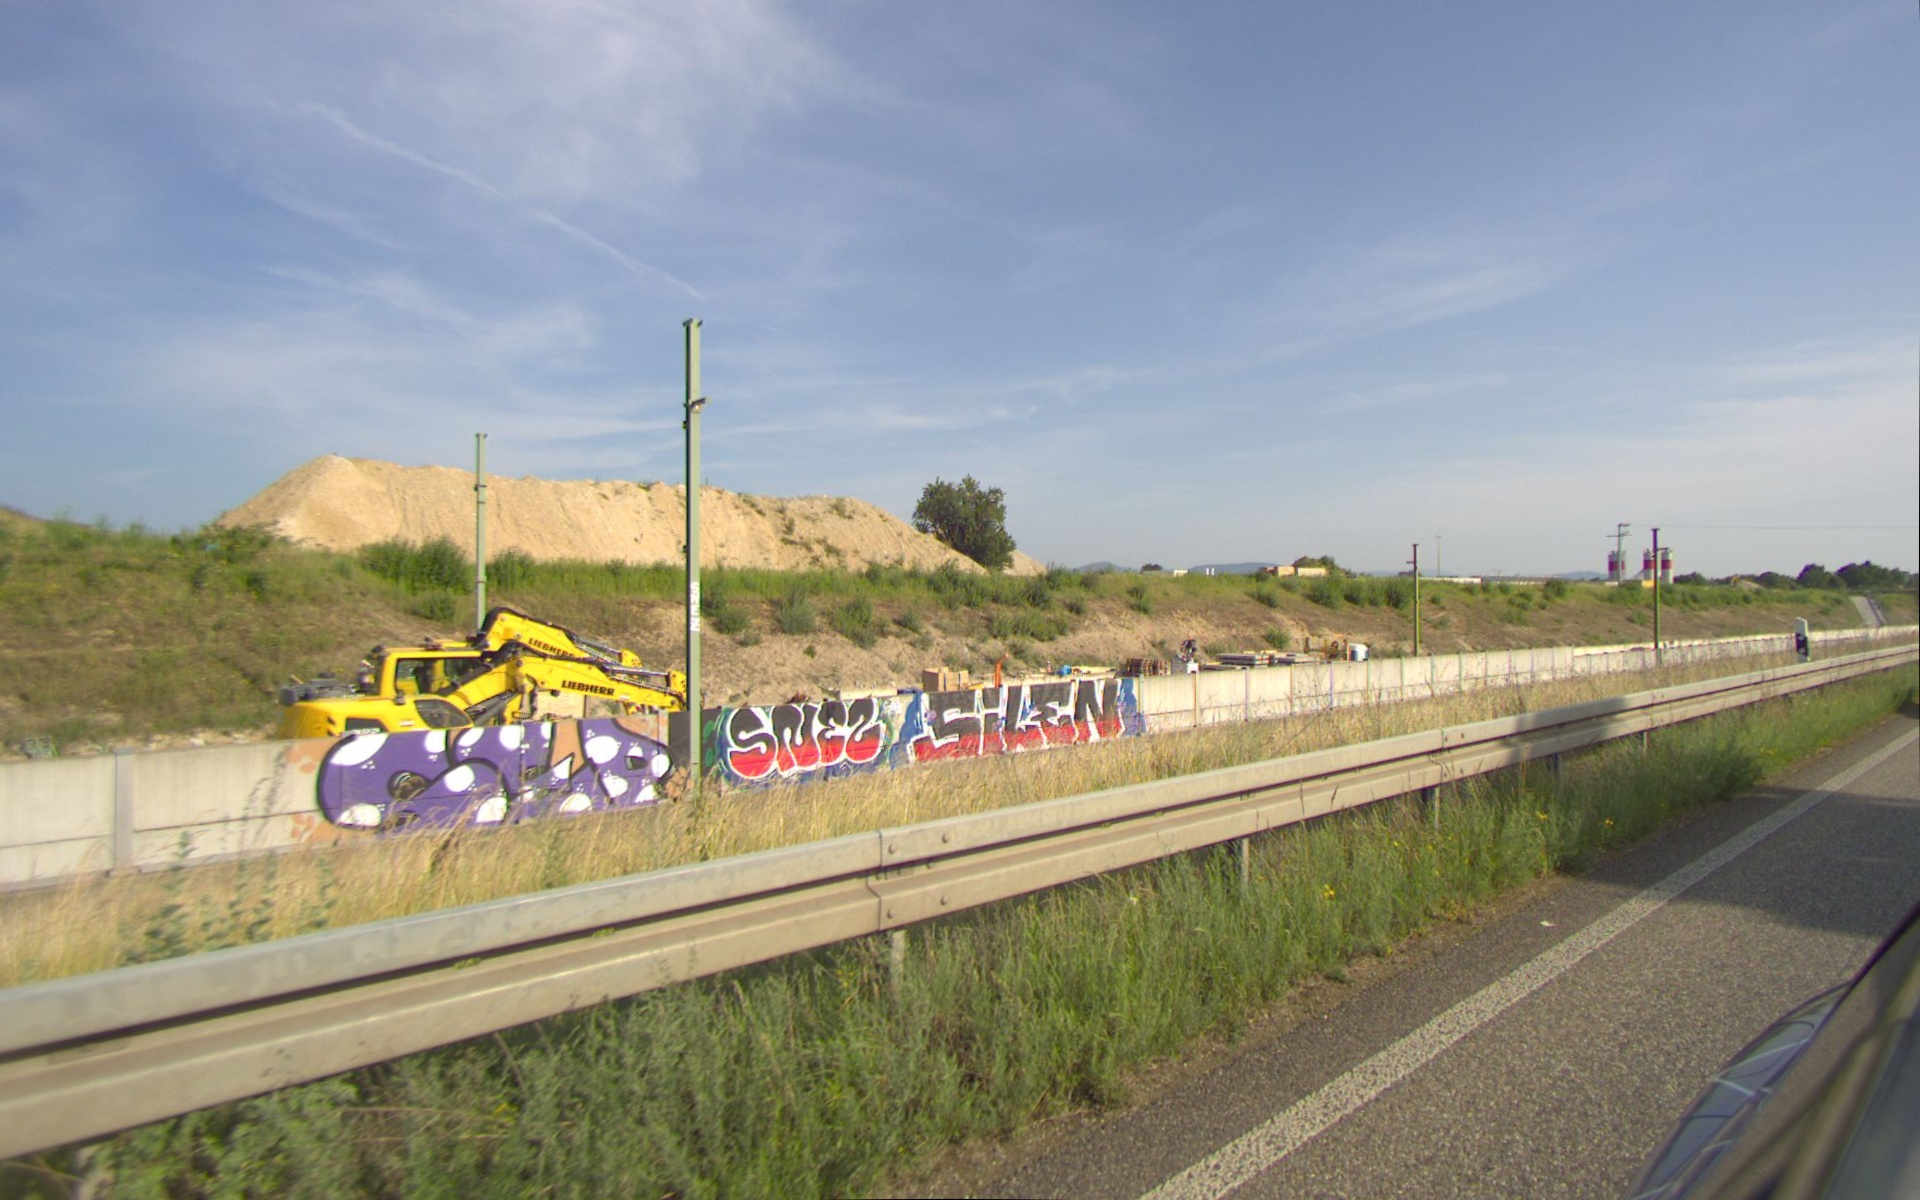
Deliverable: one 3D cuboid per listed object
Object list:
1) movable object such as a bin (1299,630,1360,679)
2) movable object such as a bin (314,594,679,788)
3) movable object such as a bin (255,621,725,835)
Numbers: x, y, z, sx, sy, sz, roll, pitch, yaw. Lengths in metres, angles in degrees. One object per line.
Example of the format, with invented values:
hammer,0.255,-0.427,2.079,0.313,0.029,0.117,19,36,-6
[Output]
movable object such as a bin,21.263,3.106,58.391,1.977,2.695,2.919,0,0,-15
movable object such as a bin,-10.765,1.848,24.043,7.406,3.935,2.801,0,0,-41
movable object such as a bin,-8.818,2.117,19.794,7.932,3.280,2.626,0,0,-41
